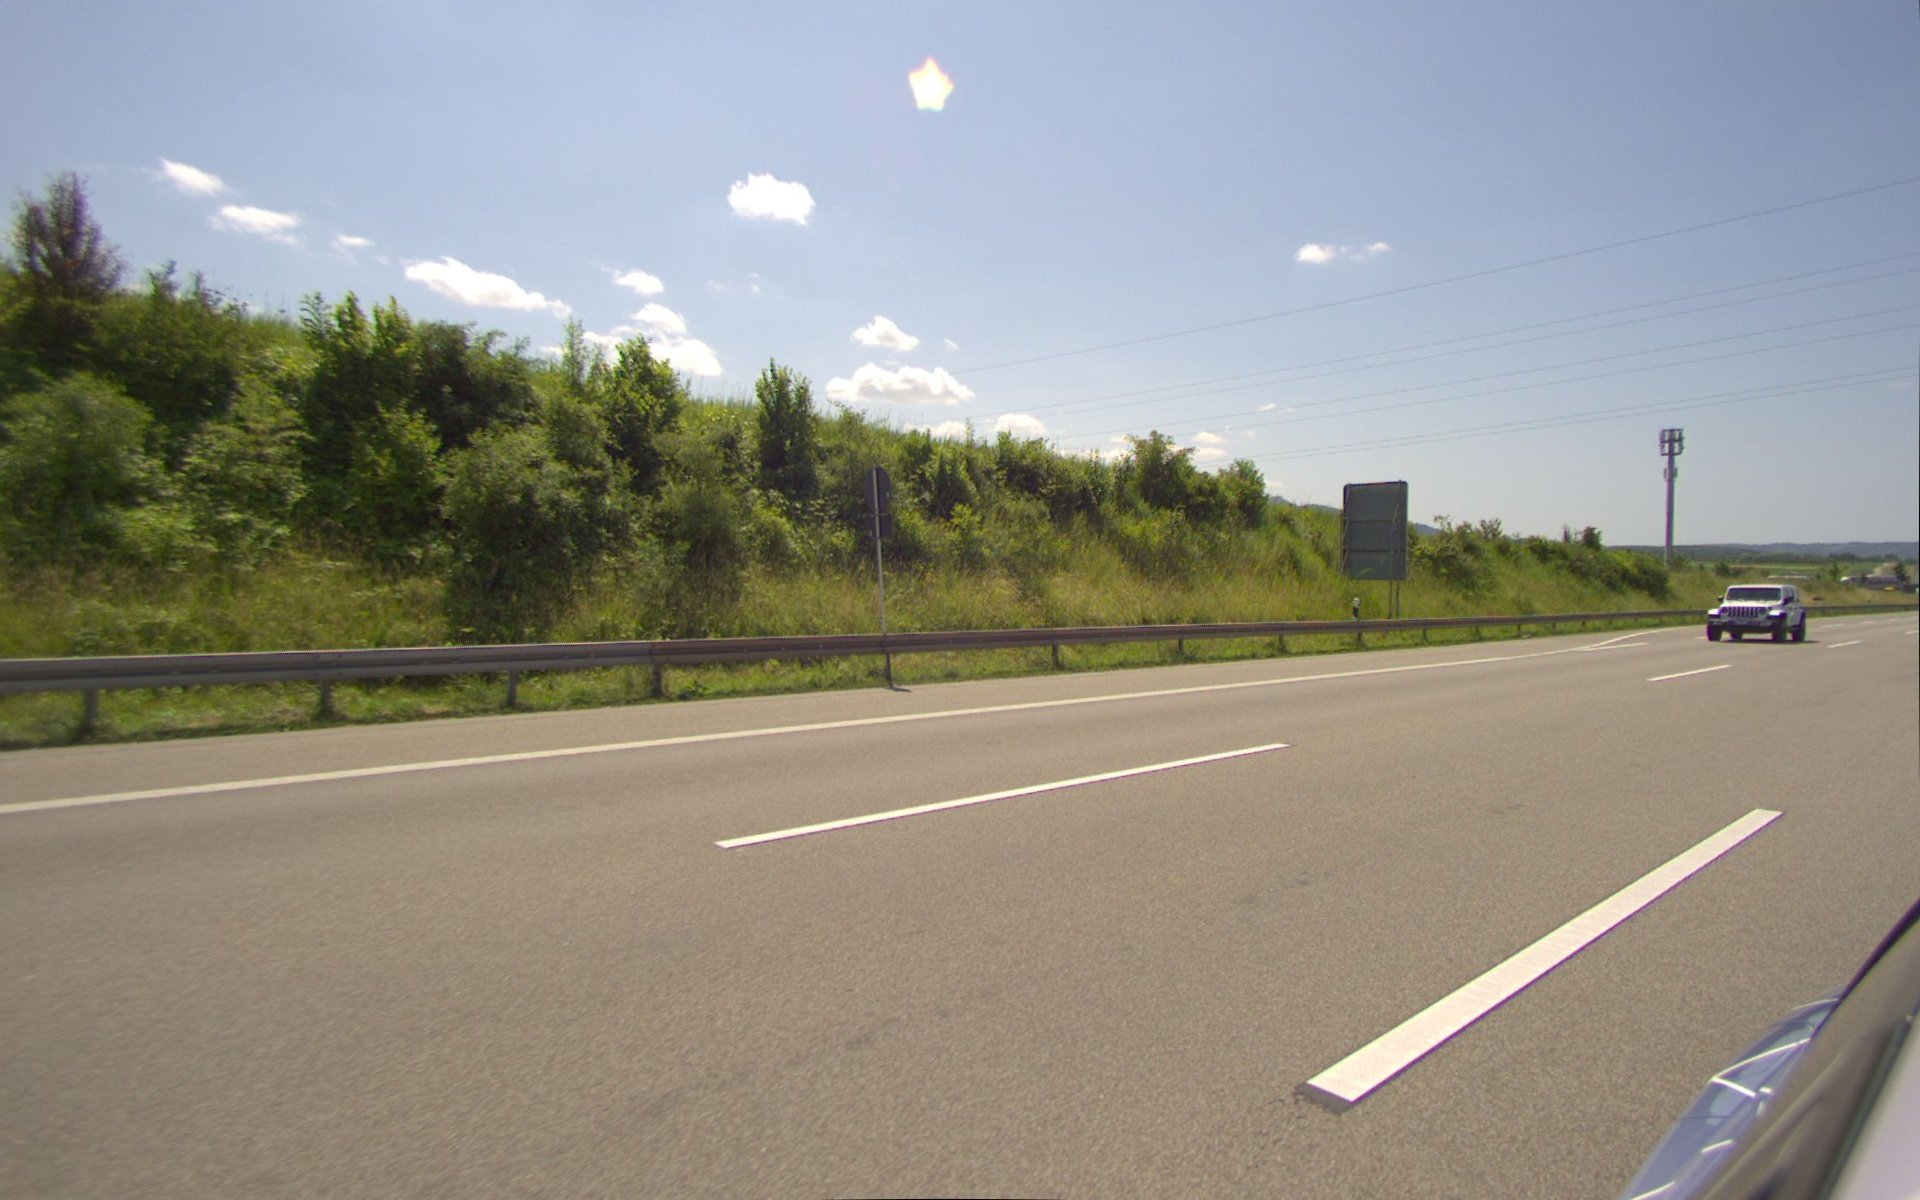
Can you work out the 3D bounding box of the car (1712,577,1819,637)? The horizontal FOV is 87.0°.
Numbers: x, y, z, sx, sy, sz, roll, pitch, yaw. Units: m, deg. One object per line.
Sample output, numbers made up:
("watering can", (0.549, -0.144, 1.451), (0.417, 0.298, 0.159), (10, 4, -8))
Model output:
("car", (26.165, 0.192, 32.836), (4.177, 1.827, 2.038), (-1, 1, -42))
